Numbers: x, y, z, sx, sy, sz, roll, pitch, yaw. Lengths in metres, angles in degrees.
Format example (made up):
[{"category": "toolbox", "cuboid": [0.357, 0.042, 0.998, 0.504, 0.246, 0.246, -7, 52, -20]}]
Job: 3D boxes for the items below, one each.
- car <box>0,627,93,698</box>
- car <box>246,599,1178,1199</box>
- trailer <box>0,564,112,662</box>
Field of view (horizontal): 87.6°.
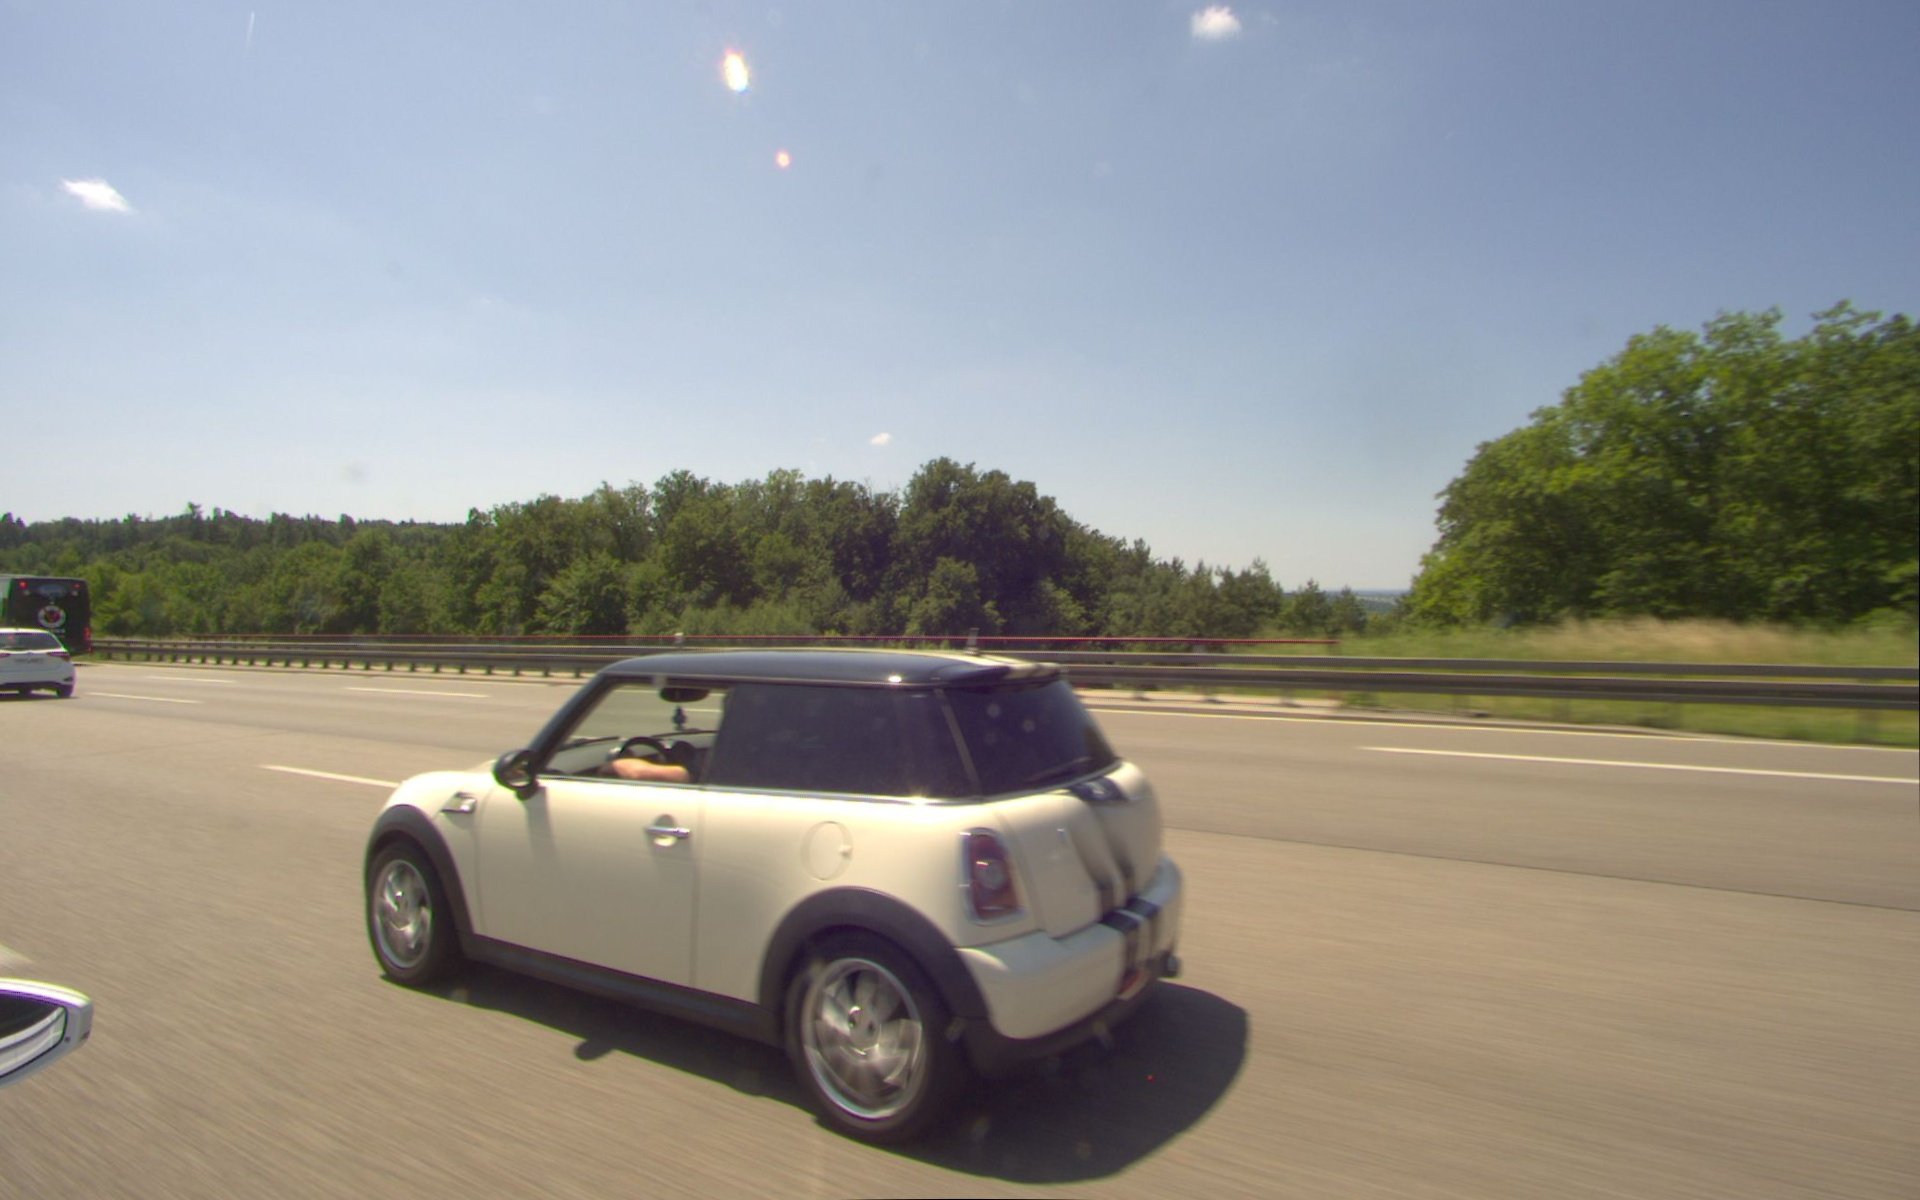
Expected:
[{"category": "car", "cuboid": [-21.078, 1.344, 22.130, 4.312, 1.451, 1.664, -1, -3, 32]}, {"category": "car", "cuboid": [-1.240, 0.837, 4.505, 3.941, 1.573, 1.837, 2, 2, 32]}, {"category": "trailer", "cuboid": [-40.631, 0.618, 42.860, 13.353, 3.737, 2.850, -1, 1, 33]}]
